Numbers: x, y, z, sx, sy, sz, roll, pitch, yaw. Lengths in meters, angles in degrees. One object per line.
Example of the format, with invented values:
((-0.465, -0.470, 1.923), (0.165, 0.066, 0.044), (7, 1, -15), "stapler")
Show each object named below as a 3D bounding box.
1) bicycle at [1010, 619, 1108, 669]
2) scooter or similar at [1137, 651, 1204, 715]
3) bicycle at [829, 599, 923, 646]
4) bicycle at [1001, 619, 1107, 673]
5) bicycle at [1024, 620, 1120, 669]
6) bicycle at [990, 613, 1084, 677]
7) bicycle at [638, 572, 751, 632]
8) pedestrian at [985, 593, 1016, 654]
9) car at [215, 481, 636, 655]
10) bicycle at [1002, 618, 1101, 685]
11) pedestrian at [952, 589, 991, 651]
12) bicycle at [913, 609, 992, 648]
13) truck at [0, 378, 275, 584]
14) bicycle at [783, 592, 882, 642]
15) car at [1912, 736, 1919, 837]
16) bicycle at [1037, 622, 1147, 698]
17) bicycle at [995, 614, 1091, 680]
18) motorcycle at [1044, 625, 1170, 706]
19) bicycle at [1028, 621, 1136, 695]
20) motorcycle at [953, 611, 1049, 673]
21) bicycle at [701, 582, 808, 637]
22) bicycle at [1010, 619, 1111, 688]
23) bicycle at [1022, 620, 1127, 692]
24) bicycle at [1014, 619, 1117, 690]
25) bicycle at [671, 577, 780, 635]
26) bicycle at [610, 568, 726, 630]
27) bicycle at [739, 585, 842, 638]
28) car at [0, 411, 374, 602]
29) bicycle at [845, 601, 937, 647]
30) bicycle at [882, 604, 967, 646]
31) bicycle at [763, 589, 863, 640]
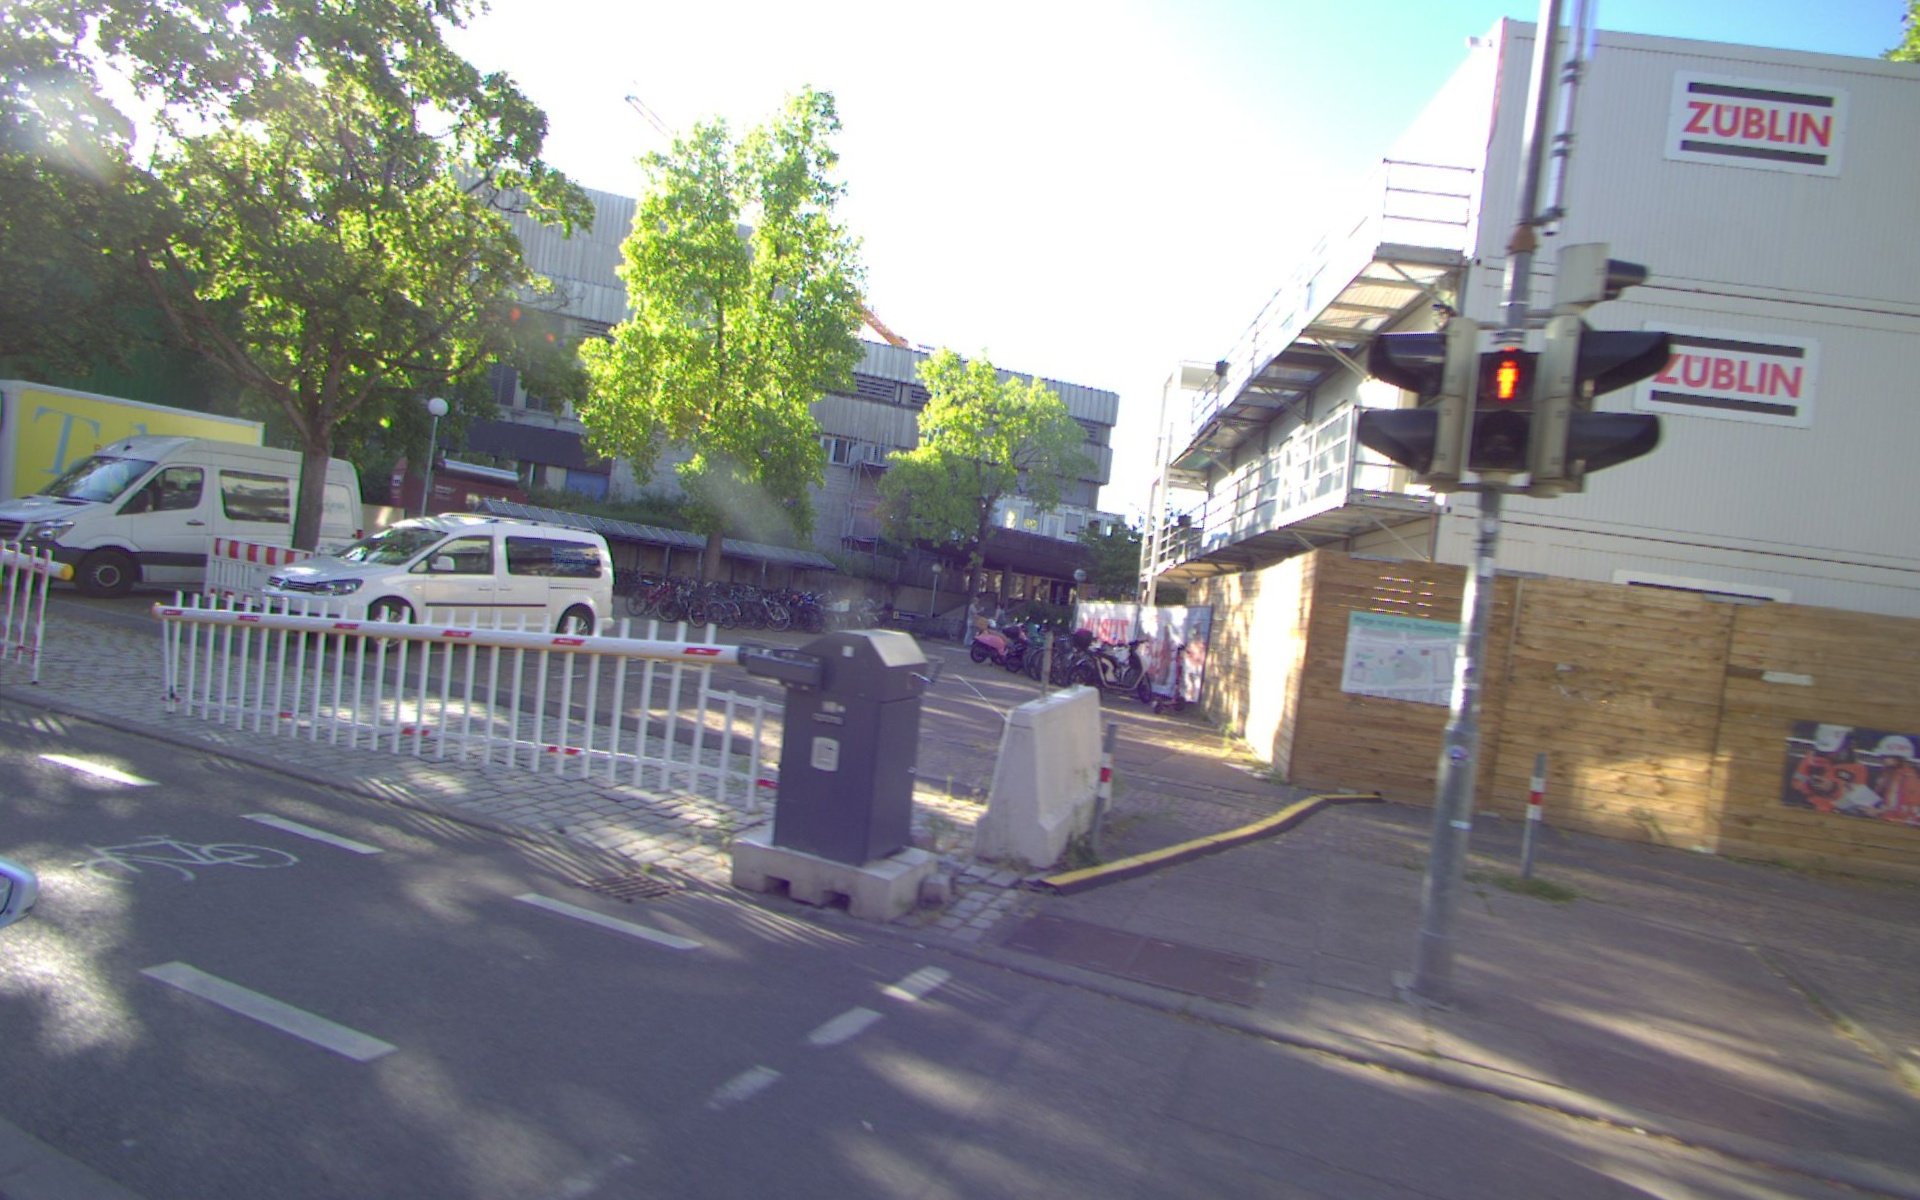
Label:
((2.999, 1.332, 30.624), (2.791, 1.162, 0.820), (7, 1, 32), "bicycle")
((3.719, 1.472, 17.701), (0.380, 1.033, 1.480), (8, 1, 41), "scooter or similar")
((-2.717, 0.707, 32.303), (3.038, 1.162, 0.820), (7, 1, 32), "bicycle")
((2.602, 1.282, 28.097), (2.791, 1.162, 0.820), (7, 1, 32), "bicycle")
((3.482, 1.385, 31.335), (2.791, 1.162, 0.820), (7, 1, 32), "bicycle")
((1.820, 1.070, 23.747), (2.018, 1.273, 0.541), (7, 1, -15), "bicycle")
((-6.782, 0.043, 25.571), (3.038, 1.162, 0.820), (7, 1, 32), "bicycle")
((1.425, 0.824, 35.344), (0.788, 2.039, 1.030), (7, 1, -1), "pedestrian")
((-7.253, -0.337, 14.305), (1.976, 1.917, 4.937), (7, 2, 28), "car")
((2.049, 1.157, 22.577), (2.018, 1.273, 0.541), (7, 1, -15), "bicycle")
((0.410, 0.714, 35.541), (0.790, 2.039, 0.936), (7, 1, 33), "pedestrian")
((-0.306, 1.096, 39.349), (3.038, 1.162, 0.820), (7, 1, 32), "bicycle")
((-17.575, -2.286, 19.210), (2.346, 3.391, 7.113), (7, 1, 23), "truck")
((-3.879, 0.500, 30.475), (3.038, 1.162, 0.820), (7, 1, 32), "bicycle")
((14.402, 2.702, 12.926), (1.618, 1.512, 4.000), (4, -2, 21), "car")
((2.627, 1.195, 19.989), (2.018, 1.273, 0.470), (7, 1, -15), "bicycle")
((1.907, 1.082, 23.158), (2.018, 1.273, 0.541), (7, 1, -15), "bicycle")
((2.762, 1.237, 18.920), (2.177, 1.273, 0.541), (7, 1, -15), "motorcycle")
((2.483, 1.180, 20.482), (2.018, 1.273, 0.470), (7, 1, -15), "bicycle")
((1.020, 1.036, 24.794), (2.177, 1.273, 0.541), (7, 1, -15), "motorcycle")
((-5.627, 0.250, 27.461), (3.038, 1.162, 0.820), (7, 1, 32), "bicycle")
((2.196, 1.167, 22.004), (2.018, 1.273, 0.541), (7, 1, -15), "bicycle")
((2.383, 1.174, 20.958), (2.018, 1.273, 0.470), (7, 1, -15), "bicycle")
((2.256, 1.165, 21.453), (2.018, 1.273, 0.470), (7, 1, -15), "bicycle")
((-6.220, 0.145, 26.569), (3.038, 1.162, 0.820), (7, 1, 32), "bicycle")
((-7.176, -0.033, 24.658), (3.038, 1.162, 0.820), (7, 1, 32), "bicycle")
((-4.877, 0.321, 28.832), (3.038, 1.162, 0.820), (7, 1, 32), "bicycle")
((-12.769, -1.365, 16.464), (1.963, 2.565, 5.374), (7, 3, 20), "car")
((-2.290, 0.786, 33.133), (3.038, 1.162, 0.820), (7, 1, 32), "bicycle")
((-1.321, 0.892, 36.582), (3.038, 1.162, 0.820), (7, 1, 32), "bicycle")
((-4.367, 0.413, 29.729), (3.038, 1.162, 0.820), (7, 1, 32), "bicycle")
